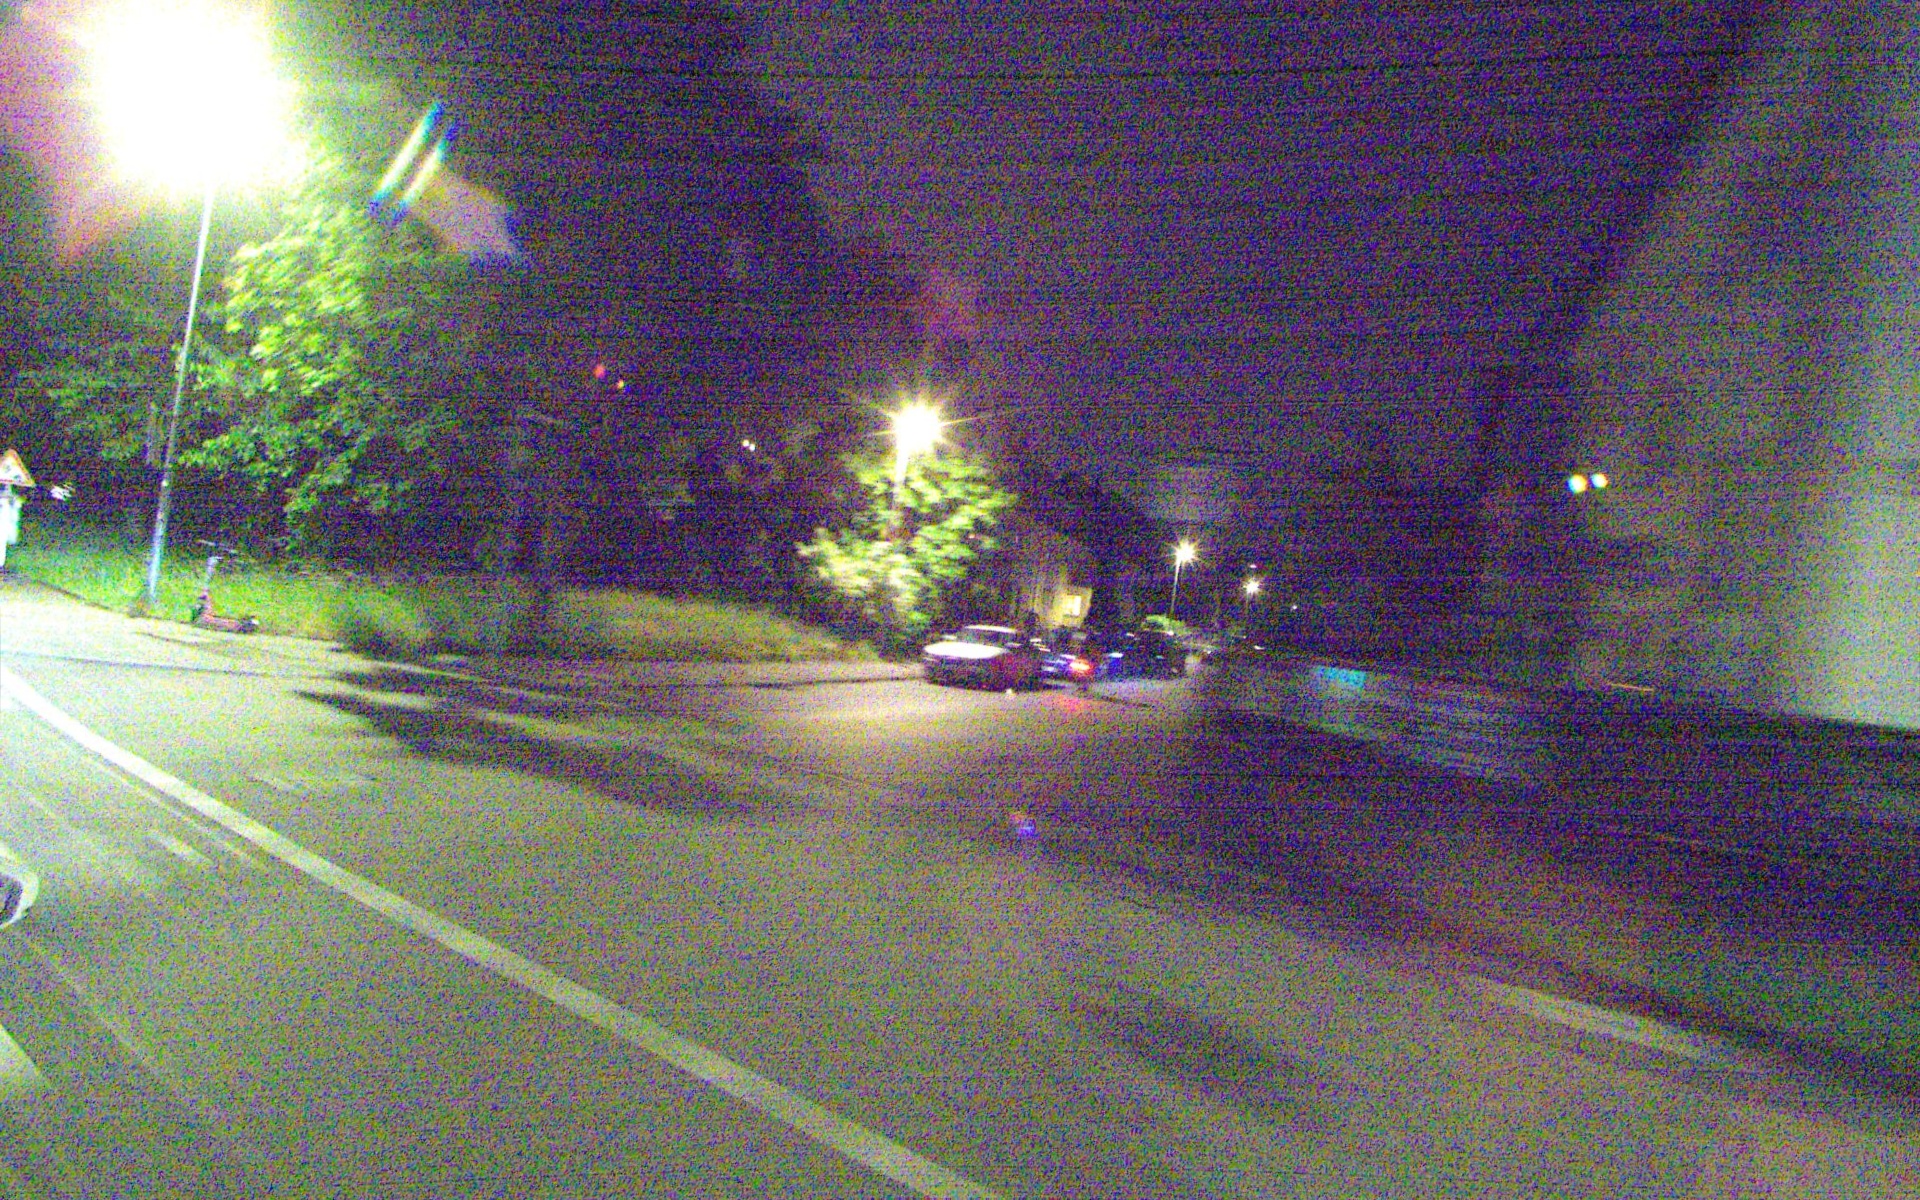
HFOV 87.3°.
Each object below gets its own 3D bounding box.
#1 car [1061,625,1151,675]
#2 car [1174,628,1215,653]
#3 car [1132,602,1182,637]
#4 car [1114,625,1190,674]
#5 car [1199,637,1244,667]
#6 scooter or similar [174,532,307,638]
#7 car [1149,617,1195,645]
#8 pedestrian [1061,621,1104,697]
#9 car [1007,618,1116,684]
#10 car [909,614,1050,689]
[{"bbox_3d":[5.167,1.769,35.123,1.964,1.470,3.998,6,-1,24],"label":"car"},{"bbox_3d":[16.357,2.824,70.064,1.964,1.470,3.998,6,-1,24],"label":"car"},{"bbox_3d":[11.741,1.186,59.799,1.964,1.693,3.998,6,-1,24],"label":"car"},{"bbox_3d":[7.664,1.986,39.921,1.964,1.671,3.998,6,-1,24],"label":"car"},{"bbox_3d":[14.572,2.915,55.970,1.633,1.470,3.998,6,-1,24],"label":"car"},{"bbox_3d":[-10.561,-0.221,14.761,1.659,1.296,0.614,8,-1,20],"label":"scooter or similar"},{"bbox_3d":[13.495,1.998,63.884,1.964,1.470,3.998,6,-1,24],"label":"car"},{"bbox_3d":[2.951,1.427,24.151,0.670,1.697,1.335,7,-1,14],"label":"pedestrian"},{"bbox_3d":[3.126,1.553,30.287,1.964,1.651,3.998,6,-1,24],"label":"car"},{"bbox_3d":[0.564,1.263,24.219,1.911,1.470,3.898,6,-1,24],"label":"car"}]
